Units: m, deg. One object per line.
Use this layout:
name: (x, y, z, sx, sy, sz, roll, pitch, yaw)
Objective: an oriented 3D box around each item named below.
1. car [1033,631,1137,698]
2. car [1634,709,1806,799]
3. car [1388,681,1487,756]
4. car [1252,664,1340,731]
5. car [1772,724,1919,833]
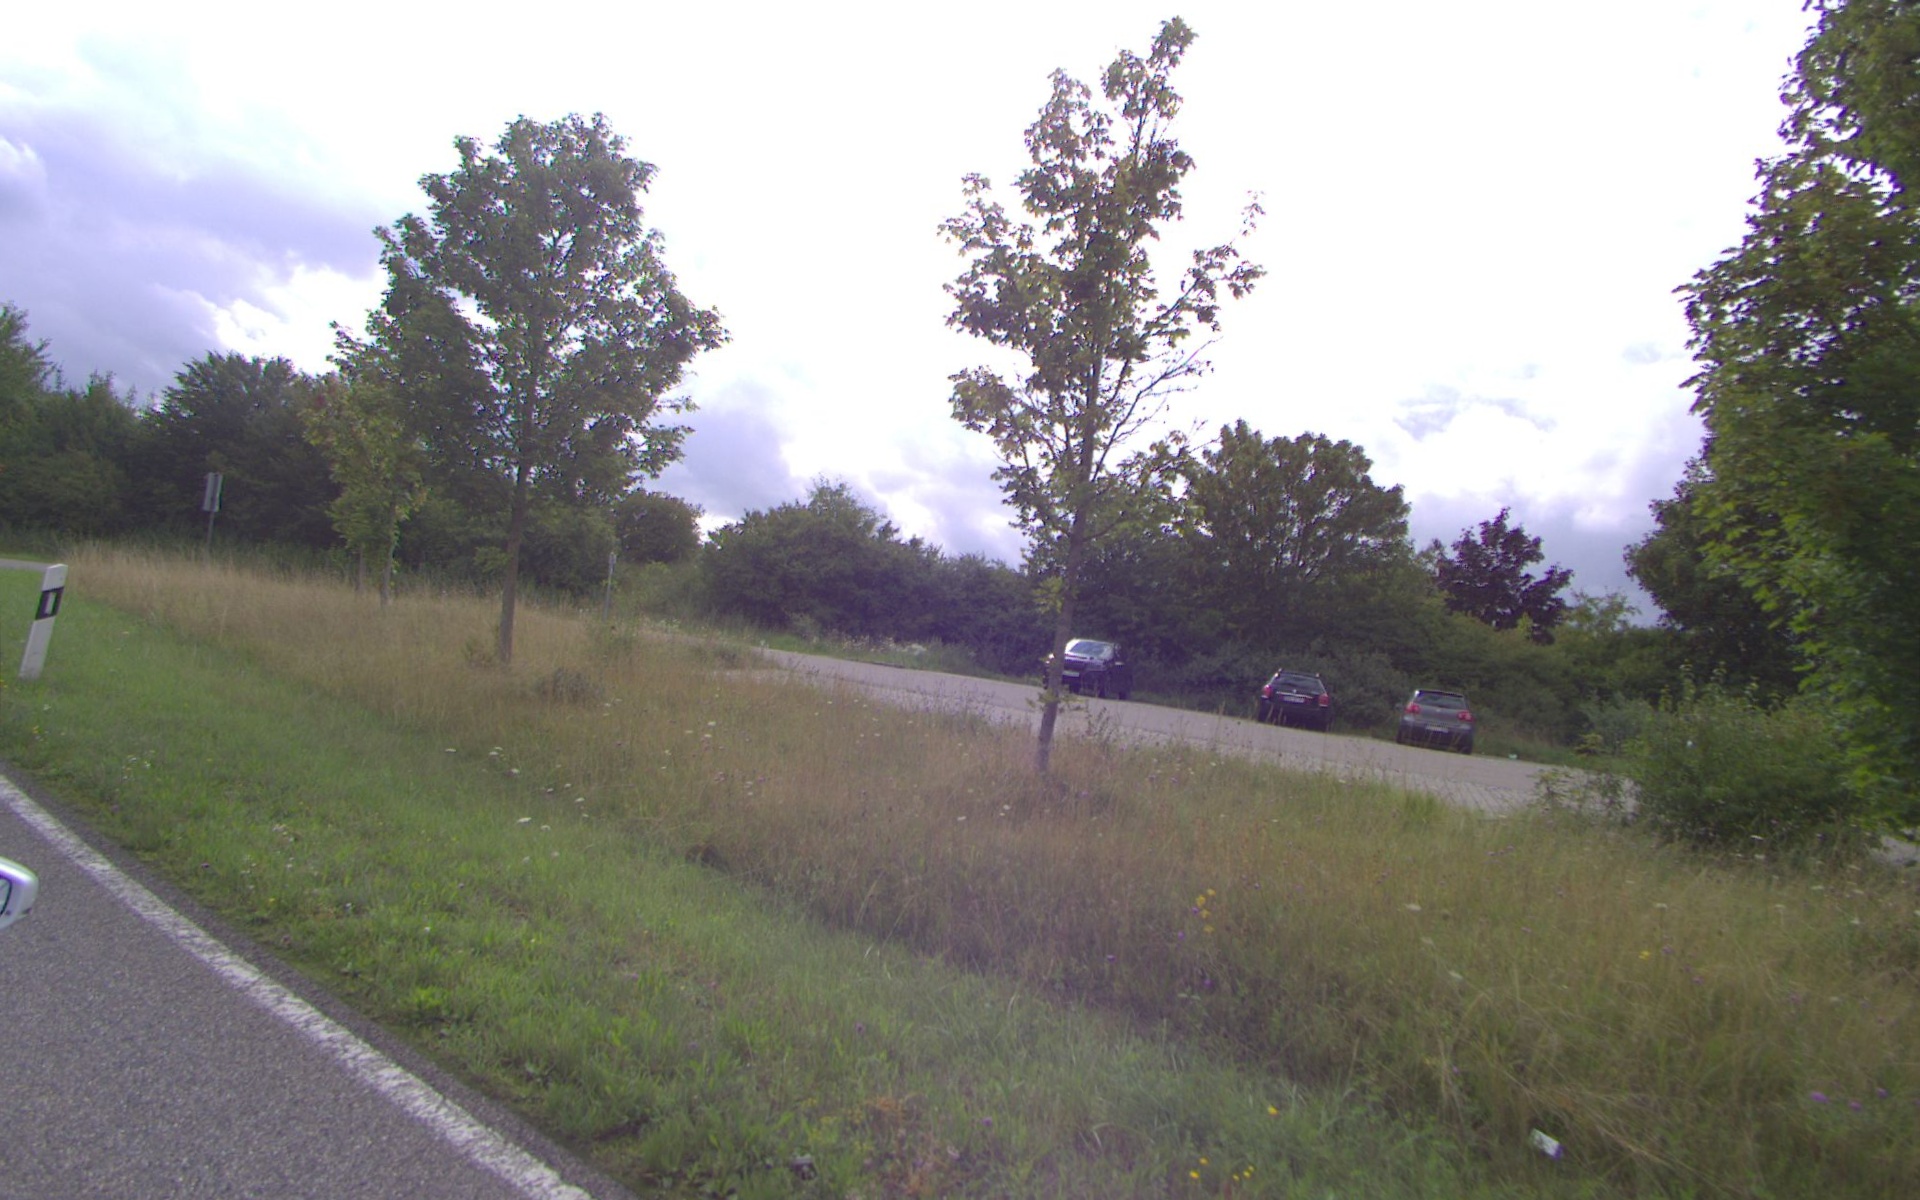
car: (3.753, 1.896, 29.477, 1.963, 1.599, 4.495, 6, -2, 20)
car: (17.530, 3.483, 23.465, 1.963, 1.514, 4.002, 6, -2, 20)
car: (12.278, 2.977, 25.876, 2.015, 1.523, 4.008, 6, -2, 26)
car: (9.090, 2.581, 27.156, 1.963, 1.430, 4.168, 6, -2, 20)
car: (20.135, 3.919, 22.461, 1.964, 1.881, 4.000, 6, -2, 24)
